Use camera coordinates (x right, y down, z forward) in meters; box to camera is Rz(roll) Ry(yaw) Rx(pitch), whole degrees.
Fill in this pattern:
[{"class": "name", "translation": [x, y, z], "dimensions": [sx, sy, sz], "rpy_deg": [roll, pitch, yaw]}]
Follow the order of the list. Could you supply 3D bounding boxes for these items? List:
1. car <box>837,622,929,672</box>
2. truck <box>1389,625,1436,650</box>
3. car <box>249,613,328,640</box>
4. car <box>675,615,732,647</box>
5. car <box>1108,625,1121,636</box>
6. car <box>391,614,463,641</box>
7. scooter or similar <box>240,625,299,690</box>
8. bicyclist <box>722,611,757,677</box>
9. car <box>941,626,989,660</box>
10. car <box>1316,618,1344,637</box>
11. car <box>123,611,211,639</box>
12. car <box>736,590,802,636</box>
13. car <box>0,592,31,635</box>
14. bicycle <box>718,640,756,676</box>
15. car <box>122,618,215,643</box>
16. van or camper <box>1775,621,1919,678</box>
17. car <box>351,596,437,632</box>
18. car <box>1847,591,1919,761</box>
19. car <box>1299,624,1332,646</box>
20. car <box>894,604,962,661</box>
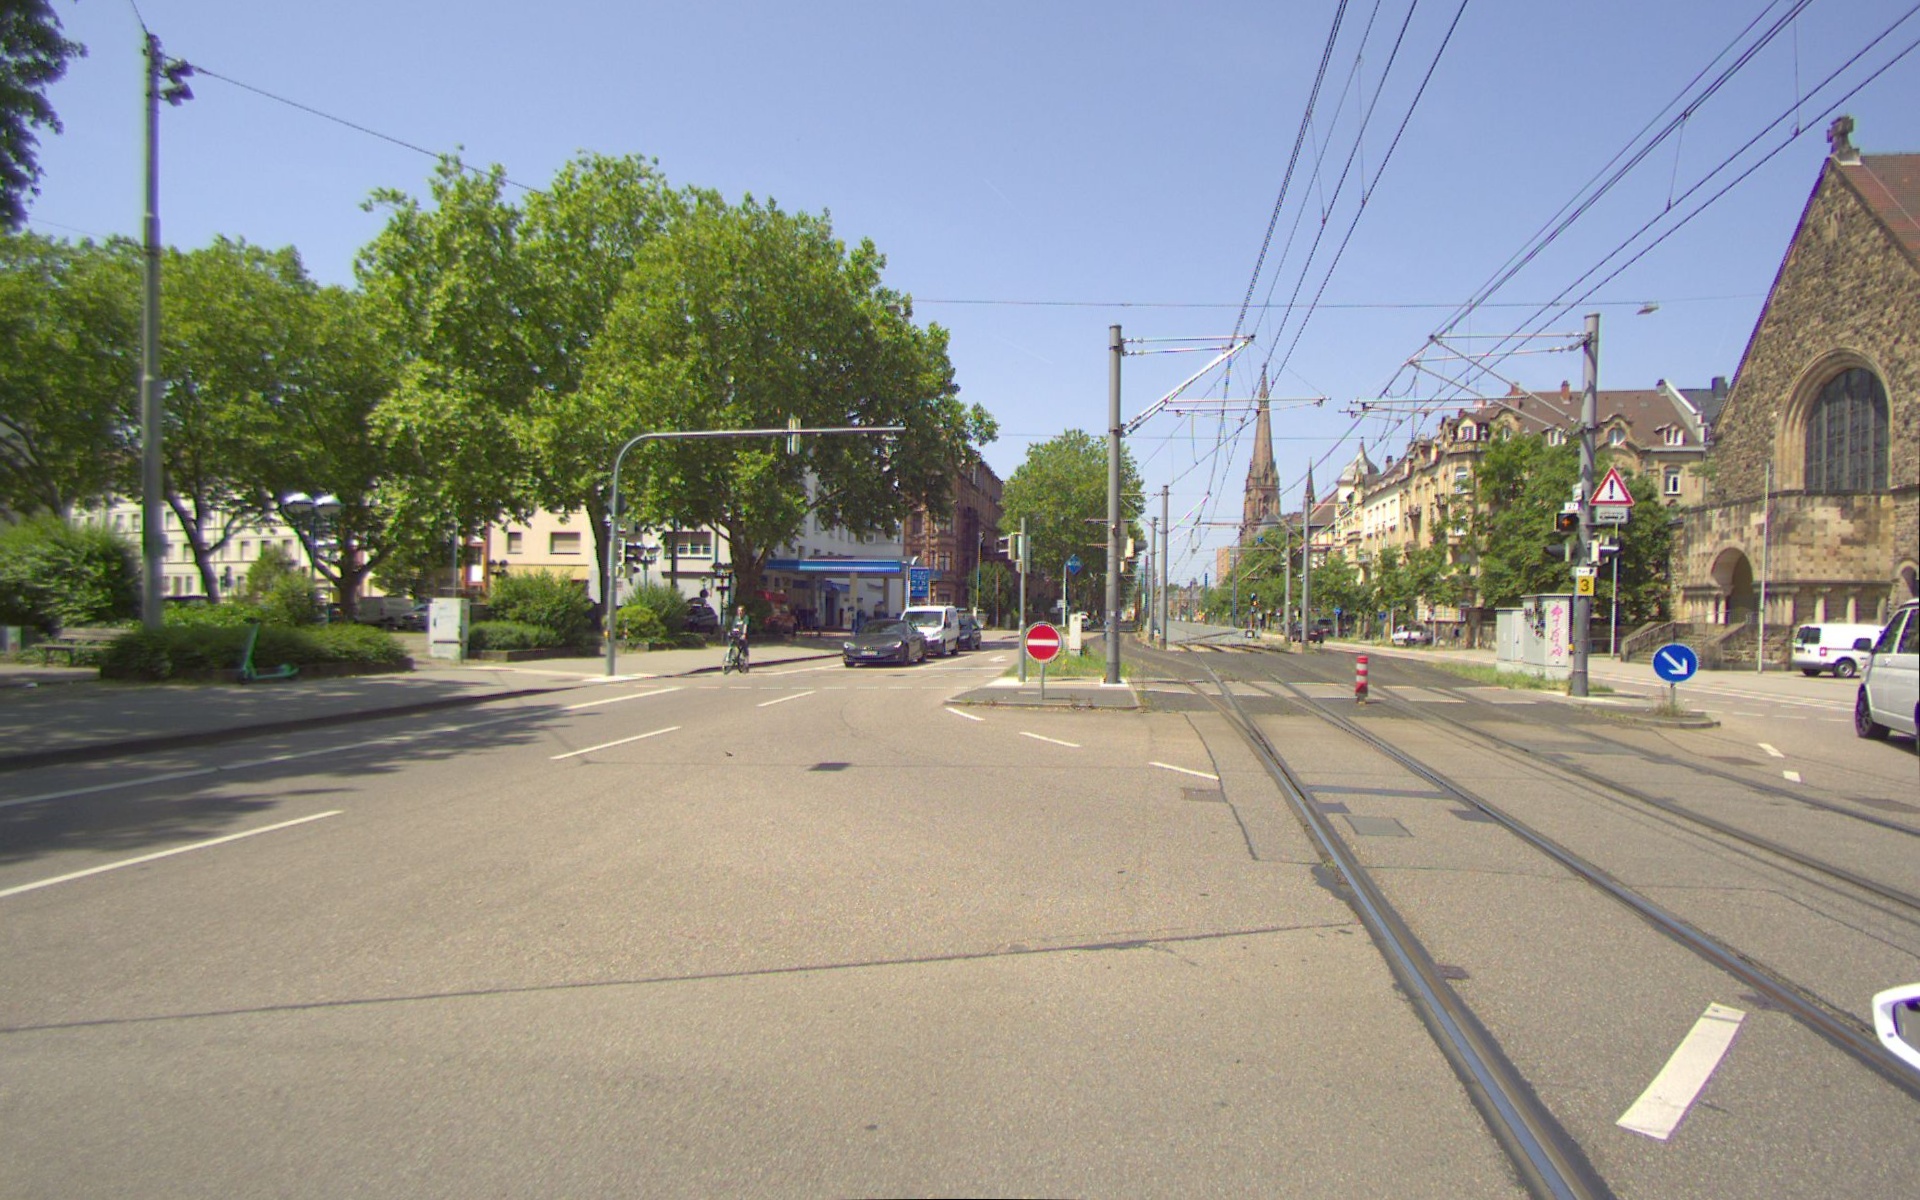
[{"class": "car", "translation": [-2.311, 1.416, 31.495], "dimensions": [1.913, 1.377, 4.631], "rpy_deg": [0, -1, 8]}, {"class": "truck", "translation": [30.209, 2.478, 67.198], "dimensions": [1.759, 1.546, 4.468], "rpy_deg": [1, -1, 9]}, {"class": "car", "translation": [-39.828, 1.557, 59.687], "dimensions": [1.884, 1.507, 3.852], "rpy_deg": [0, -1, 5]}, {"class": "car", "translation": [-14.050, 1.663, 55.177], "dimensions": [1.554, 1.664, 3.928], "rpy_deg": [0, -1, 10]}, {"class": "car", "translation": [23.309, 4.635, 151.348], "dimensions": [1.815, 1.647, 4.605], "rpy_deg": [-1, -1, 10]}, {"class": "car", "translation": [-30.878, 1.595, 58.347], "dimensions": [1.884, 1.507, 3.852], "rpy_deg": [0, -1, 5]}, {"class": "scooter or similar", "translation": [-12.489, 1.029, 18.178], "dimensions": [0.252, 1.135, 0.860], "rpy_deg": [1, -1, 22]}, {"class": "bicyclist", "translation": [-5.853, 1.163, 26.693], "dimensions": [0.627, 1.708, 0.869], "rpy_deg": [1, -1, 6]}, {"class": "car", "translation": [0.256, 1.926, 45.346], "dimensions": [1.569, 1.439, 3.784], "rpy_deg": [-1, -1, 9]}, {"class": "car", "translation": [34.680, 2.536, 94.194], "dimensions": [1.720, 1.728, 3.761], "rpy_deg": [1, -1, 9]}, {"class": "car", "translation": [-44.496, 1.381, 56.391], "dimensions": [3.772, 1.507, 1.735], "rpy_deg": [0, -1, 7]}, {"class": "car", "translation": [-10.485, 0.736, 55.526], "dimensions": [1.815, 2.424, 4.985], "rpy_deg": [0, -1, 11]}, {"class": "car", "translation": [-45.823, 0.580, 46.591], "dimensions": [3.919, 1.975, 2.167], "rpy_deg": [1, -1, 13]}, {"class": "bicycle", "translation": [-5.856, 1.513, 26.489], "dimensions": [0.487, 0.894, 1.483], "rpy_deg": [1, -1, 7]}, {"class": "car", "translation": [-43.854, 1.682, 55.666], "dimensions": [3.772, 1.272, 1.924], "rpy_deg": [1, -1, 7]}, {"class": "van or camper", "translation": [31.230, 1.700, 35.009], "dimensions": [3.919, 1.831, 2.001], "rpy_deg": [1, -1, 7]}, {"class": "car", "translation": [-33.359, 0.829, 59.407], "dimensions": [1.884, 2.017, 5.110], "rpy_deg": [0, -1, 5]}, {"class": "car", "translation": [12.740, 0.931, 12.457], "dimensions": [1.889, 1.969, 4.254], "rpy_deg": [1, -1, 32]}, {"class": "car", "translation": [26.983, 2.640, 76.364], "dimensions": [1.720, 1.559, 3.761], "rpy_deg": [1, -1, 9]}, {"class": "car", "translation": [-1.138, 1.206, 38.194], "dimensions": [1.746, 2.017, 4.808], "rpy_deg": [0, -1, 8]}]
